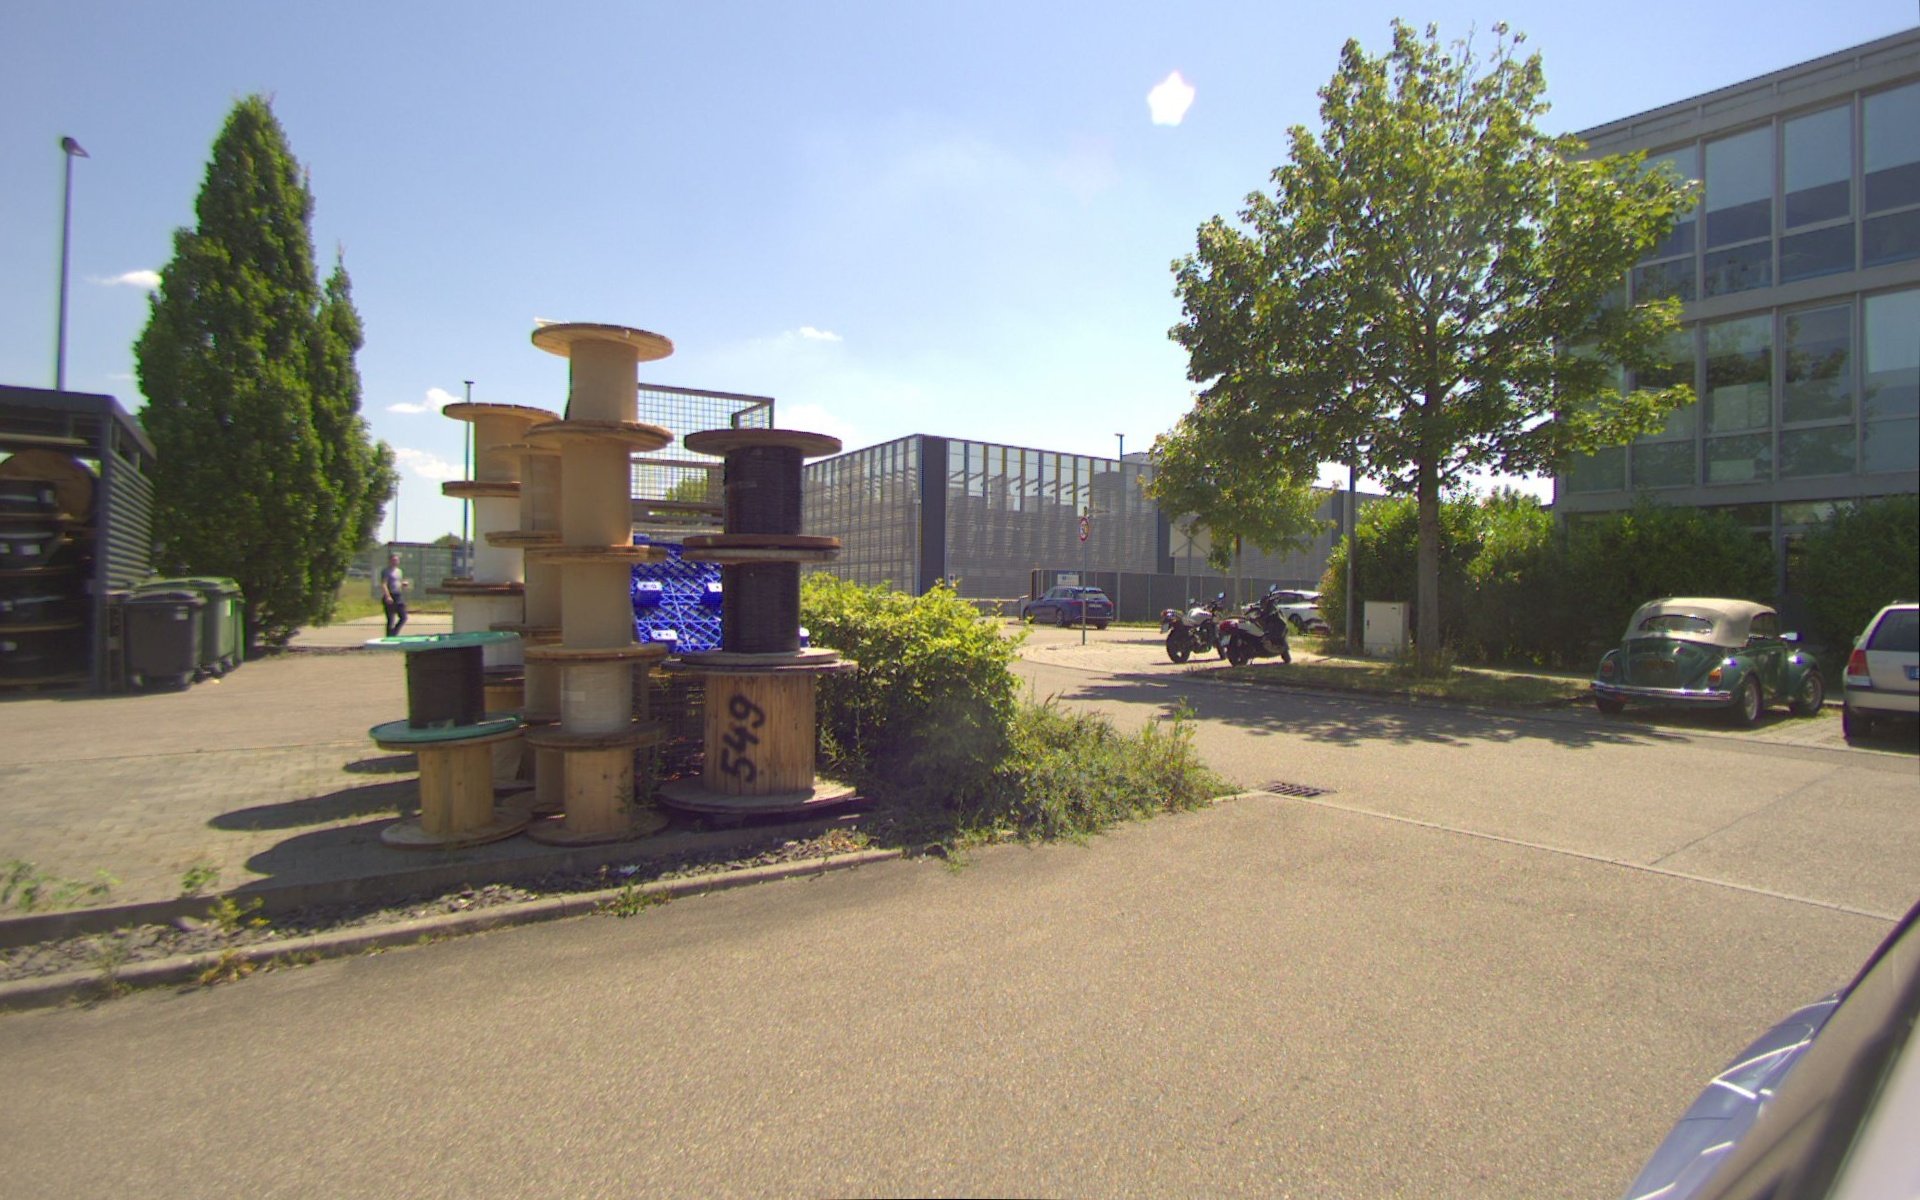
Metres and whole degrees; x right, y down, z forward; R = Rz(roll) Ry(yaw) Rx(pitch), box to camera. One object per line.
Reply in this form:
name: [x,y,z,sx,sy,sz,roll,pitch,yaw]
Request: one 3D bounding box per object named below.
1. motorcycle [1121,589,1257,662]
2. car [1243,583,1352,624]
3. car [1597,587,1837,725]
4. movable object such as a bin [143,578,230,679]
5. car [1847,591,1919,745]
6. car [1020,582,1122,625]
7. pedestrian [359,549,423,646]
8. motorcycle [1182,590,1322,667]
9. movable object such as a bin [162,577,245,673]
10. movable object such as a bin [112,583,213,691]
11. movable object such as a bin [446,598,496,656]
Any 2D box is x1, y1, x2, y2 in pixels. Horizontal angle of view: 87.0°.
motorcycle: [4.366,0.441,19.149,2.782,1.275,0.874,0,1,-36]
car: [13.041,0.102,39.365,1.743,1.494,4.425,1,1,-18]
car: [9.515,0.589,12.654,3.356,1.463,1.522,0,2,-37]
movable object such as a bin: [-10.414,0.361,13.655,0.785,1.314,0.757,0,1,-25]
car: [10.926,0.673,10.846,3.538,1.470,1.641,-1,2,-41]
car: [3.884,0.097,36.212,1.820,1.427,4.456,1,1,-20]
pedestrian: [-10.868,-0.057,19.354,0.793,1.790,0.769,1,1,-3]
motorcycle: [5.272,0.461,18.157,2.782,1.275,0.874,0,1,-36]
movable object such as a bin: [-10.770,0.331,14.442,0.785,1.314,0.811,0,1,-25]
movable object such as a bin: [-9.830,0.433,12.510,0.785,1.265,0.878,0,1,-25]
movable object such as a bin: [-8.230,0.449,17.027,0.581,0.929,0.541,1,1,32]
